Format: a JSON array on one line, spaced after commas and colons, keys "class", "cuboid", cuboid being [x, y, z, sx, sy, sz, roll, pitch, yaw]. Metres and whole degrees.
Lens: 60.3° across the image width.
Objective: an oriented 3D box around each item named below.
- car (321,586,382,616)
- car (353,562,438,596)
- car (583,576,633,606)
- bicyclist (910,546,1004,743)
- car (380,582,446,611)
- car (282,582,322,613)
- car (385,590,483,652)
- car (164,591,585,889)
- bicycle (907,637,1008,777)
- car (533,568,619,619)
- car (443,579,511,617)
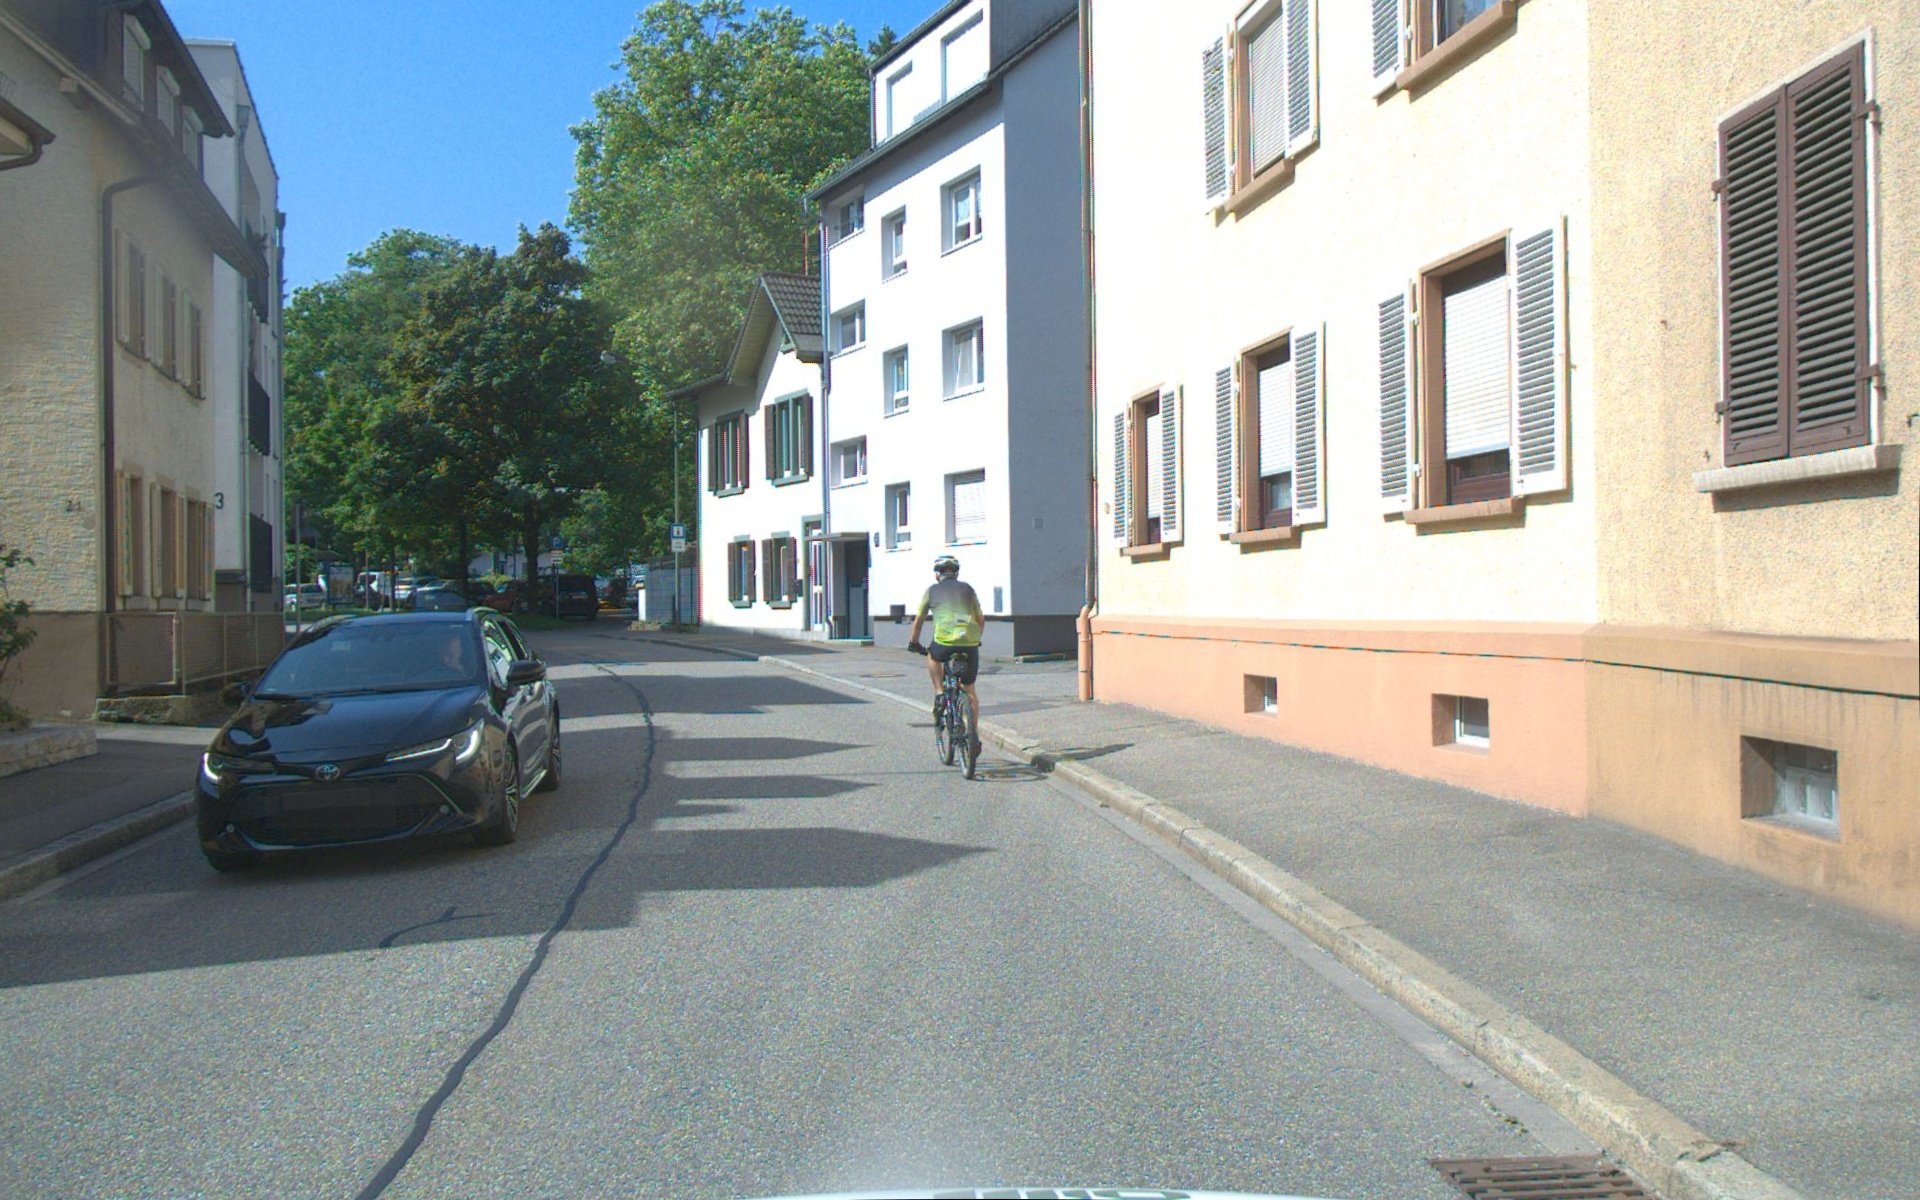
[{"class": "car", "cuboid": [-30.963, 0.063, 84.118, 3.352, 1.493, 1.667, 0, 0, 44]}, {"class": "car", "cuboid": [-32.310, -1.186, 94.842, 1.953, 1.887, 4.698, 0, 0, 24]}, {"class": "car", "cuboid": [-16.239, -0.426, 76.259, 1.561, 1.279, 3.831, -2, 1, -22]}, {"class": "bicyclist", "cuboid": [-0.038, 0.357, 13.593, 0.672, 1.558, 0.714, -1, 0, -6]}, {"class": "car", "cuboid": [-30.168, -0.213, 91.336, 1.771, 1.579, 4.004, 0, 0, 10]}, {"class": "car", "cuboid": [-34.960, -0.154, 87.868, 1.722, 1.579, 3.723, -1, 0, -26]}, {"class": "car", "cuboid": [-14.959, 0.581, 46.925, 1.805, 1.563, 3.960, -5, 2, -30]}, {"class": "car", "cuboid": [-3.627, 0.736, 11.046, 1.627, 1.474, 4.253, -4, 1, -6]}, {"class": "bicycle", "cuboid": [-0.044, 0.857, 13.680, 0.685, 1.053, 1.469, 1, 0, -6]}, {"class": "car", "cuboid": [-14.650, -0.272, 62.950, 1.808, 1.822, 3.950, -2, 2, -35]}, {"class": "car", "cuboid": [-21.247, -0.112, 72.708, 1.695, 1.569, 3.950, -2, 2, -35]}]
